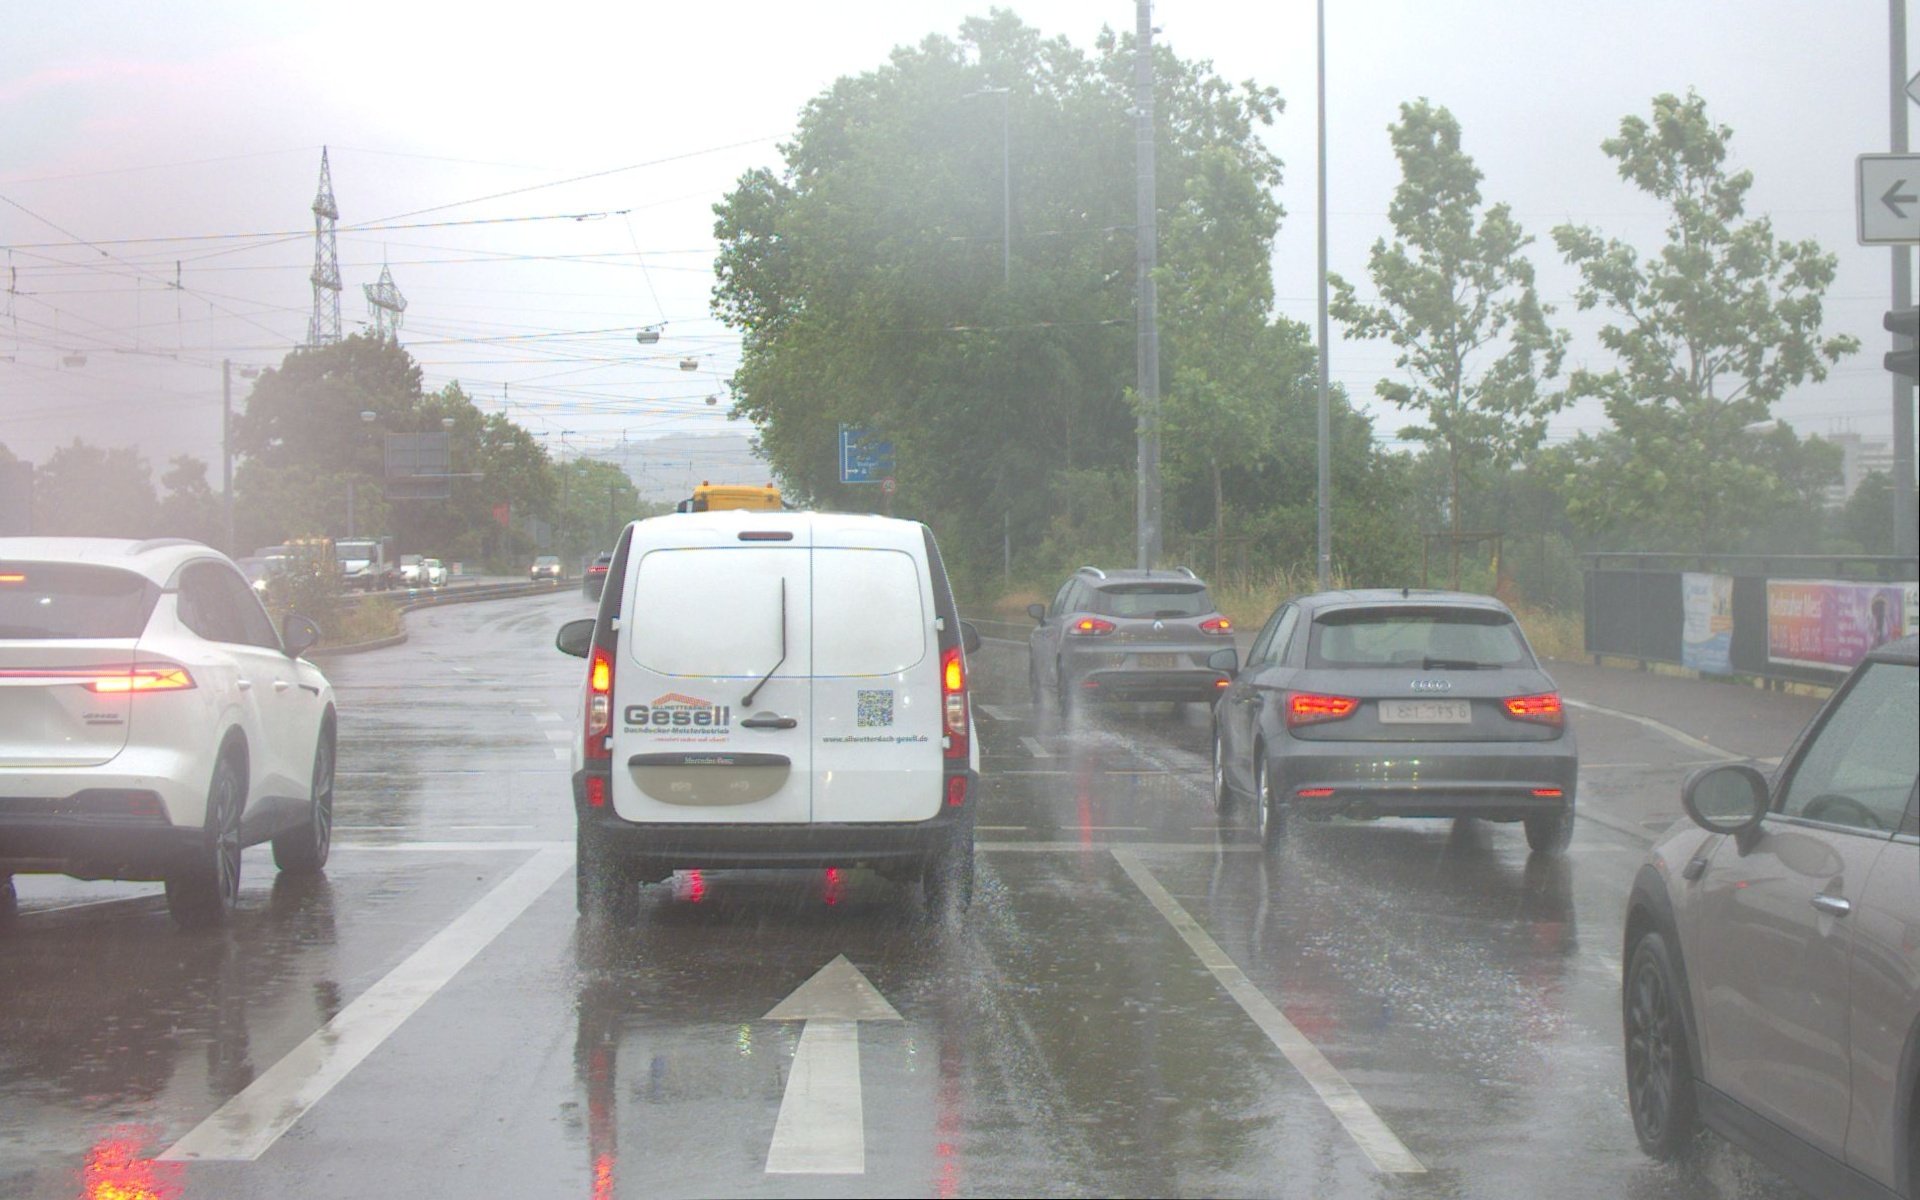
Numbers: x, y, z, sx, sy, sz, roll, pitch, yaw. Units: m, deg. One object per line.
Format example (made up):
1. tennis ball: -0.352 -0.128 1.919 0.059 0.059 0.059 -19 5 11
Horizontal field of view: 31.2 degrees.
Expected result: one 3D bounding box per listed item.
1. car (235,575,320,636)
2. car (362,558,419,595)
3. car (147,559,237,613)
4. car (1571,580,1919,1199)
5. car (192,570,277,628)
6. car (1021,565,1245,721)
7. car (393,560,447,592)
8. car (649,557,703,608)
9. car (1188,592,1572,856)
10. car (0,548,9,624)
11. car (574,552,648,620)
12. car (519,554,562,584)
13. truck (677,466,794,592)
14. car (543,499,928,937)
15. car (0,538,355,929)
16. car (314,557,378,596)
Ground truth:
1. car: -23.032 0.179 116.182 1.993 2.007 4.000 1 0 1
2. car: -27.413 -1.119 165.663 1.993 1.702 4.000 1 0 1
3. car: -22.681 -0.414 101.616 1.763 1.544 3.680 1 0 1
4. car: 2.553 0.724 7.414 1.713 1.503 3.624 1 0 -2
5. car: -23.004 -0.024 109.066 1.824 1.801 3.769 1 0 1
6. car: 1.661 0.388 34.230 1.859 1.424 3.808 1 1 -3
7. car: -27.199 -1.205 173.250 1.993 1.581 4.000 1 0 1
8. car: -10.819 -0.655 130.957 1.993 1.853 4.001 1 0 -5
9. car: 2.287 0.636 19.540 1.629 1.340 3.624 1 0 -2
10. car: -26.093 -0.379 88.487 1.993 2.007 4.000 1 0 2
11. car: -9.968 -0.390 97.950 1.993 1.853 4.001 1 0 -7
12. car: -25.375 -1.859 208.060 1.993 1.751 4.000 1 0 1
13. truck: -5.317 -1.626 81.928 2.632 2.807 7.146 1 0 -3
14. car: -0.938 0.479 16.072 1.566 1.782 4.000 0 0 -1
15. car: -3.949 0.489 15.670 1.728 1.530 4.298 1 1 -2
16. car: -26.945 -1.009 151.030 1.993 1.657 4.000 1 0 1
